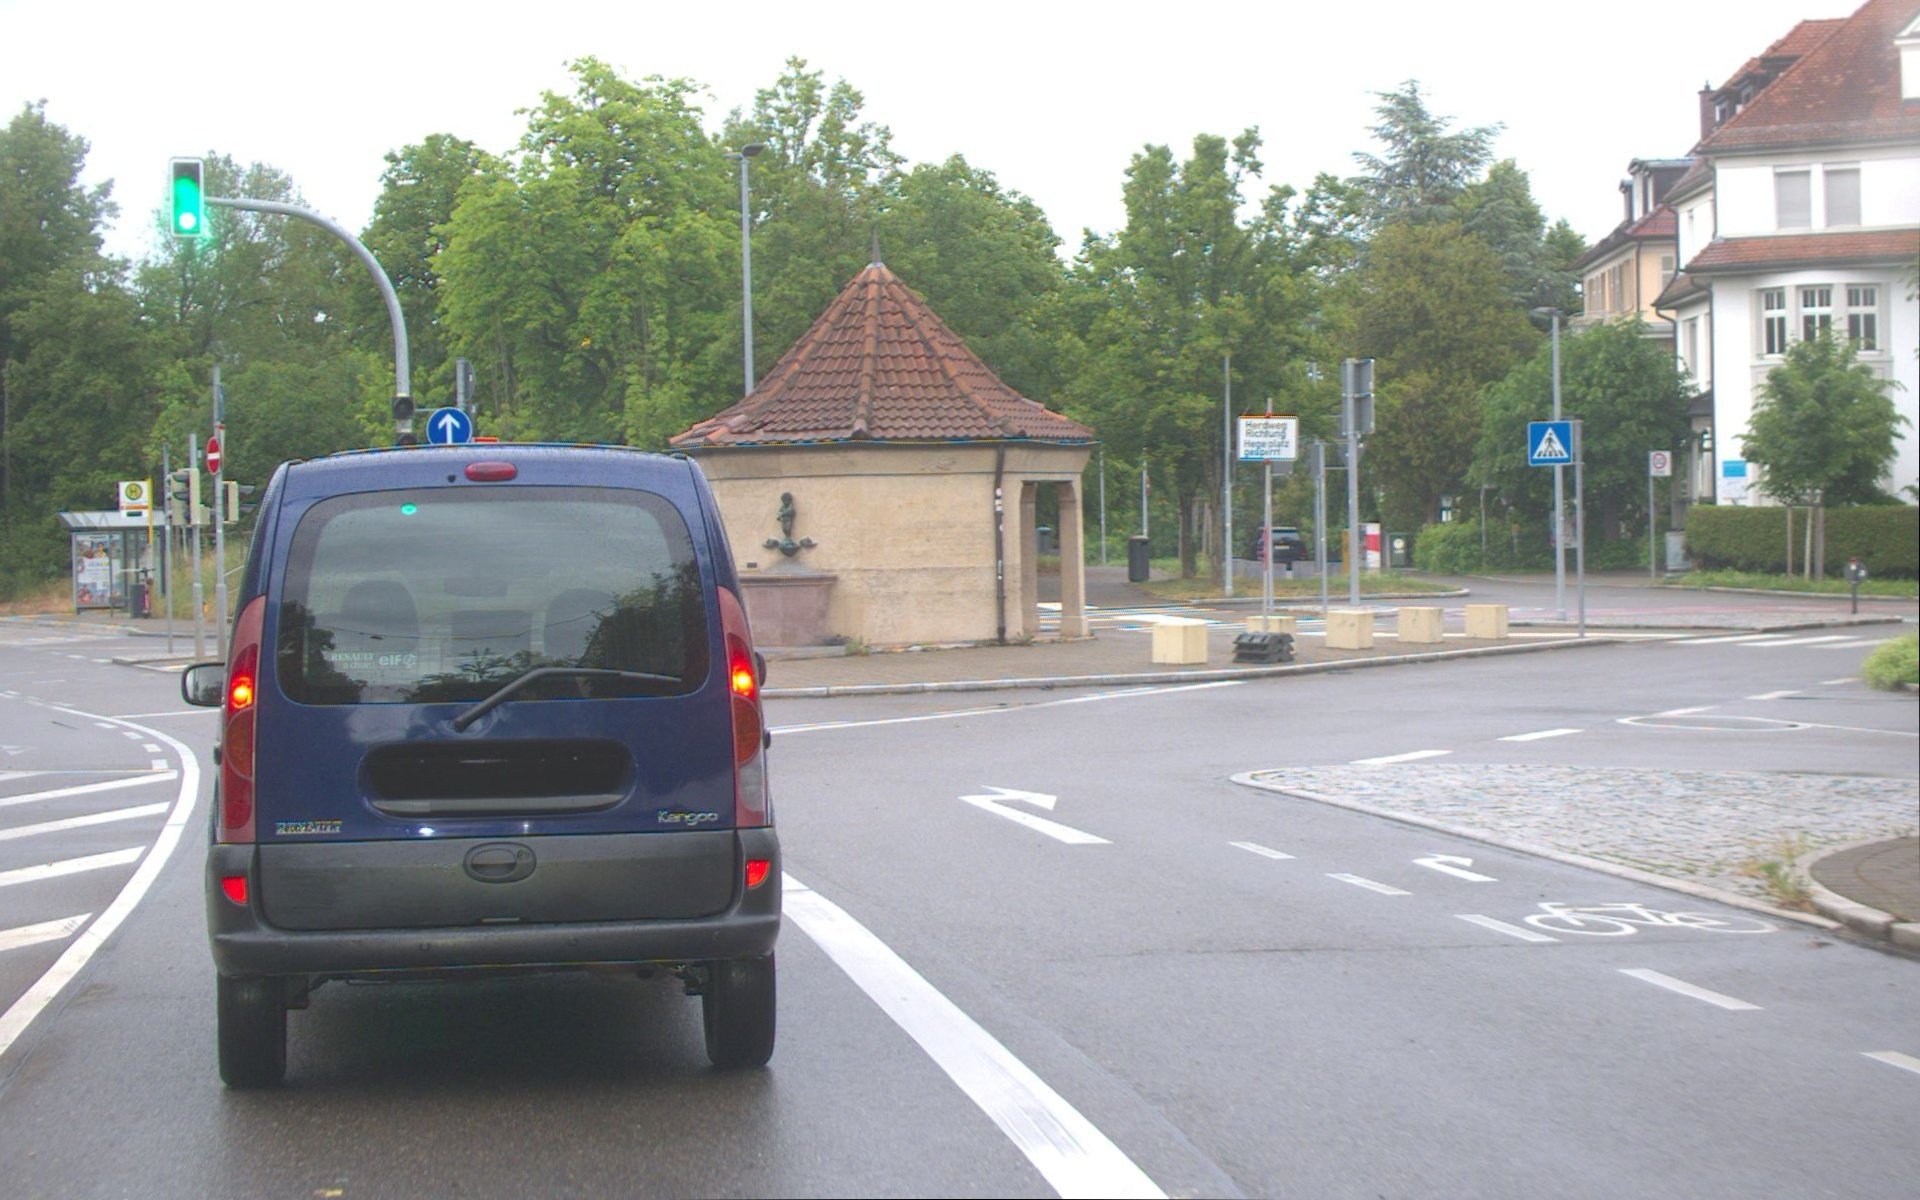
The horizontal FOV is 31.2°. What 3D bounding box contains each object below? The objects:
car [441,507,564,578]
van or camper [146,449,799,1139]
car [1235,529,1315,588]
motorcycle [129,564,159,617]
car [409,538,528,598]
[{"bbox_3d":[-11.196,-1.408,83.980,1.993,1.656,4.001,1,1,-22],"label":"car"},{"bbox_3d":[-1.561,0.493,11.262,1.712,1.819,4.001,-1,1,-7],"label":"van or camper"},{"bbox_3d":[10.978,-1.448,120.060,1.993,2.007,4.001,-1,1,-6],"label":"car"},{"bbox_3d":[-20.336,-0.243,85.707,0.589,1.284,1.538,-2,1,-9],"label":"motorcycle"},{"bbox_3d":[-12.634,-0.812,88.210,1.993,1.475,4.285,0,0,-23],"label":"car"}]
